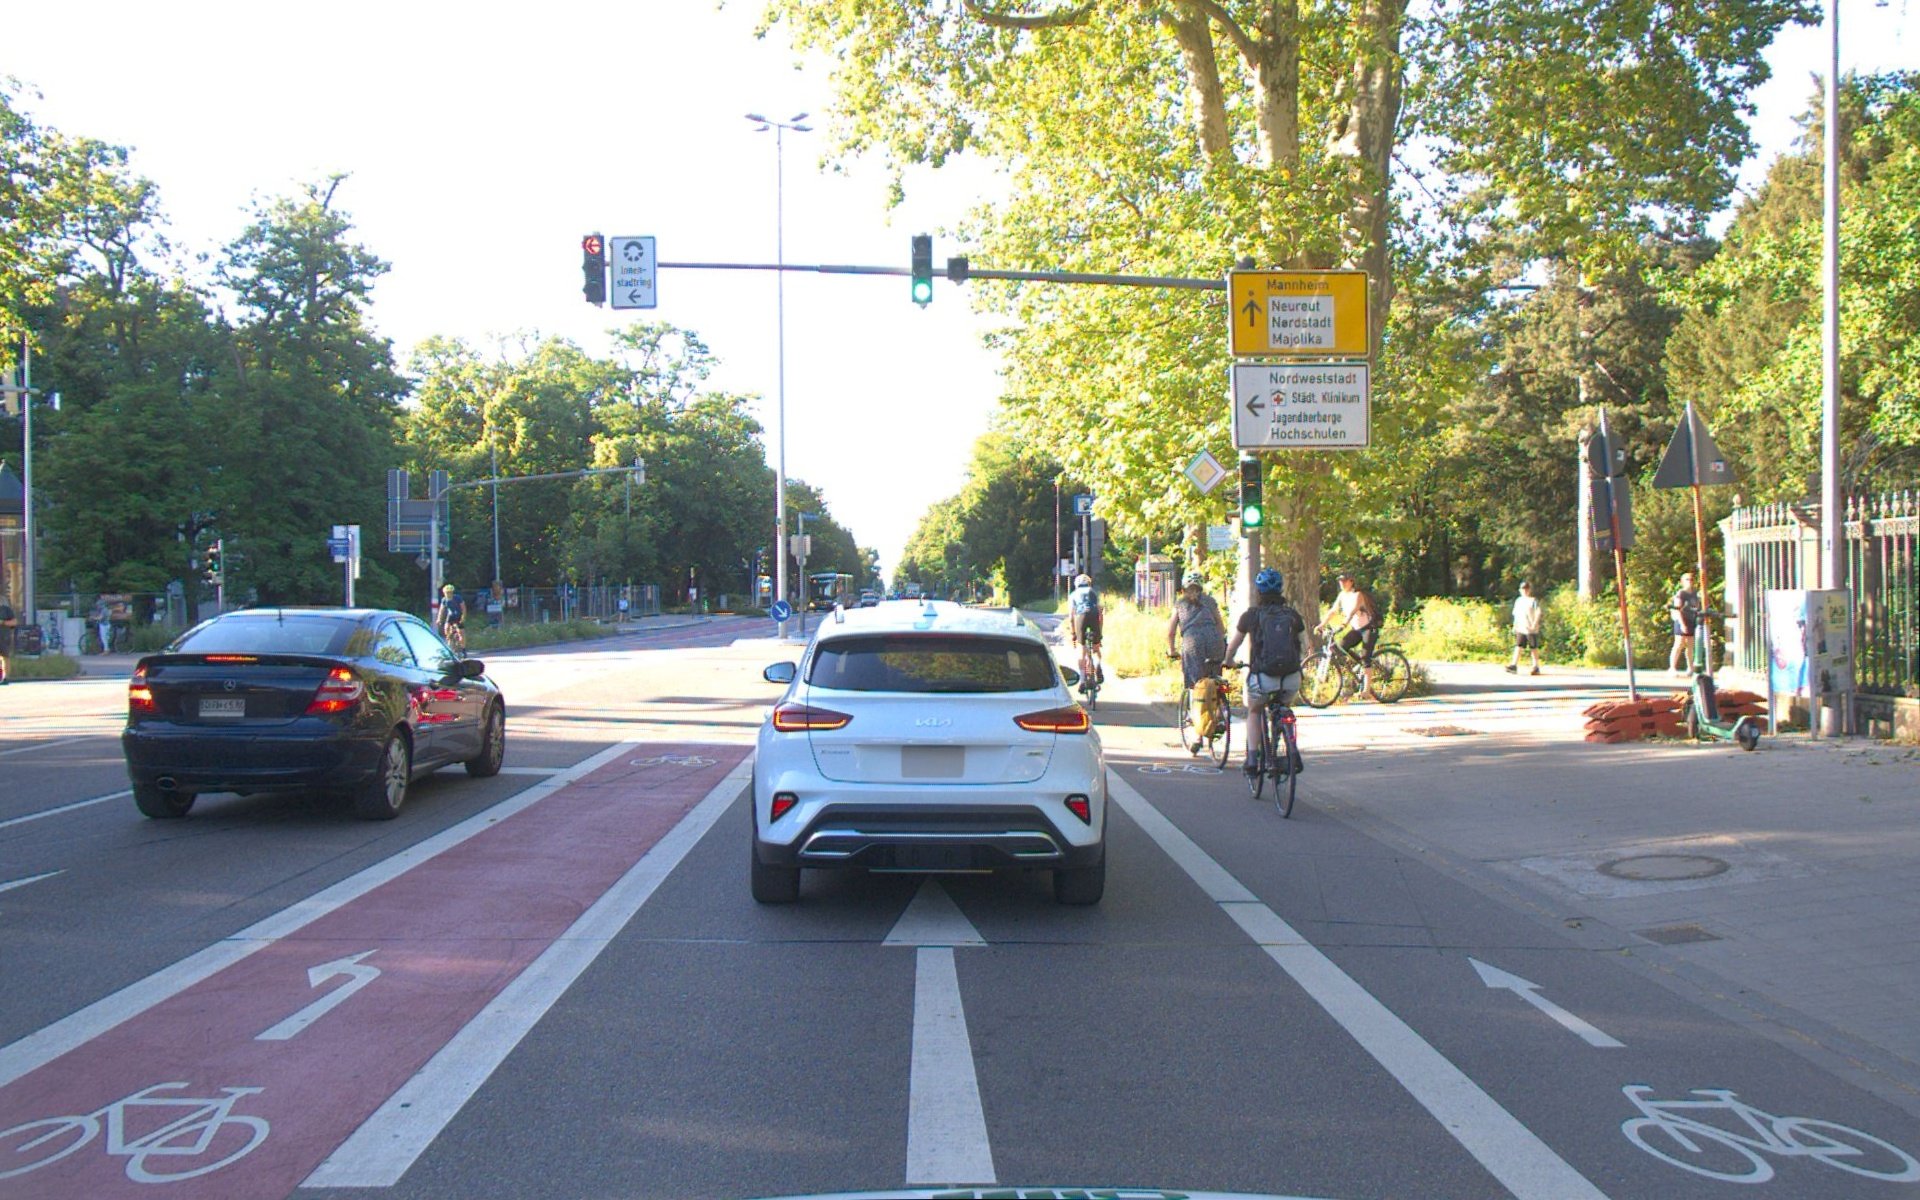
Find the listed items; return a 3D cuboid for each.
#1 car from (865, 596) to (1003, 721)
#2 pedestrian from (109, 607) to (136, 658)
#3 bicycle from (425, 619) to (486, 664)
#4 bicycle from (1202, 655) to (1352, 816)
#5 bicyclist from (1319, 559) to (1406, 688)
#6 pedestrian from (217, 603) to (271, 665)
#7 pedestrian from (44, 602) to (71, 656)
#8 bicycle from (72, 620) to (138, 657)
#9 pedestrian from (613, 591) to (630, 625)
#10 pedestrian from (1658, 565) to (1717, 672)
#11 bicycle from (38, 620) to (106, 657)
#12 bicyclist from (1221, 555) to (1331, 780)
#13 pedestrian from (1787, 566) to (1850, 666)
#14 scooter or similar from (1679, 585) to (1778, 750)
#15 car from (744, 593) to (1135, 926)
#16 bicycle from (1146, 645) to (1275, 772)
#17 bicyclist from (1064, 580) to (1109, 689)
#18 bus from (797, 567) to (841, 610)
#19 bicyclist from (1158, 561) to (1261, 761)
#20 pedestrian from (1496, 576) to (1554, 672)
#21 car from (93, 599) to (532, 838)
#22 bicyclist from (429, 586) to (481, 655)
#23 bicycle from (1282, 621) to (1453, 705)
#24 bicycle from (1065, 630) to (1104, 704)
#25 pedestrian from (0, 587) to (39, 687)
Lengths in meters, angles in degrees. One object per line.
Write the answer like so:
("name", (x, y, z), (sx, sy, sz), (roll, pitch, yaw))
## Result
("car", (-0.399, 0.730, 22.409), (1.694, 1.509, 3.515), (-1, 0, -3))
("pedestrian", (-26.079, 1.010, 51.508), (0.617, 1.608, 0.444), (0, -1, -11))
("bicycle", (-12.269, 0.997, 40.296), (0.650, 1.006, 2.504), (-2, 0, 1))
("bicycle", (2.345, 0.969, 12.474), (0.655, 1.027, 2.080), (1, 0, -2))
("bicyclist", (5.273, 0.297, 21.694), (0.832, 1.641, 0.733), (-2, 0, -14))
("pedestrian", (-19.335, 0.913, 44.681), (1.067, 1.631, 0.999), (-1, 0, -7))
("pedestrian", (-28.217, 0.911, 51.709), (0.617, 1.671, 0.444), (0, -1, -11))
("bicycle", (-26.717, 1.198, 51.702), (1.826, 1.168, 0.290), (0, -1, -8))
("pedestrian", (-18.506, 0.444, 90.385), (0.769, 1.817, 0.751), (0, -1, -1))
("pedestrian", (11.931, 0.304, 27.142), (0.675, 1.729, 0.644), (0, -1, -1))
("bicycle", (-27.911, 1.208, 51.988), (1.826, 1.168, 0.442), (0, -1, -8))
("bicyclist", (2.353, 0.488, 12.384), (0.652, 1.630, 0.720), (1, 0, -3))
("pedestrian", (14.844, 0.273, 28.618), (0.808, 1.711, 0.694), (0, -1, 13))
("scooter or similar", (6.539, 0.548, 14.112), (0.223, 1.350, 1.171), (-1, 0, -2))
("car", (-0.166, 0.716, 9.540), (1.785, 1.506, 3.934), (0, 0, -2))
("bicycle", (2.366, 1.000, 15.953), (0.742, 1.031, 2.568), (1, 0, -2))
("bicyclist", (1.762, 0.475, 23.088), (0.543, 1.504, 0.716), (0, -1, -2))
("bus", (-13.060, -1.045, 153.962), (3.667, 3.737, 13.231), (-1, 0, -4))
("bicyclist", (2.379, 0.562, 15.861), (0.738, 1.827, 1.164), (1, 0, -2))
("pedestrian", (9.293, 0.387, 27.185), (0.802, 1.544, 0.915), (0, -1, 25))
("car", (-4.608, 0.740, 12.501), (1.670, 1.429, 4.264), (-1, 0, -1))
("bicyclist", (-12.287, 0.491, 40.274), (0.857, 1.636, 1.188), (-1, 0, 1))
("bicycle", (5.340, 0.811, 21.705), (2.057, 0.993, 0.748), (-2, 0, -14))
("bicycle", (1.728, 0.918, 23.139), (0.393, 0.973, 1.550), (0, 0, -1))
("pedestrian", (-20.094, 0.764, 34.539), (0.974, 2.049, 1.191), (0, -1, 4))
